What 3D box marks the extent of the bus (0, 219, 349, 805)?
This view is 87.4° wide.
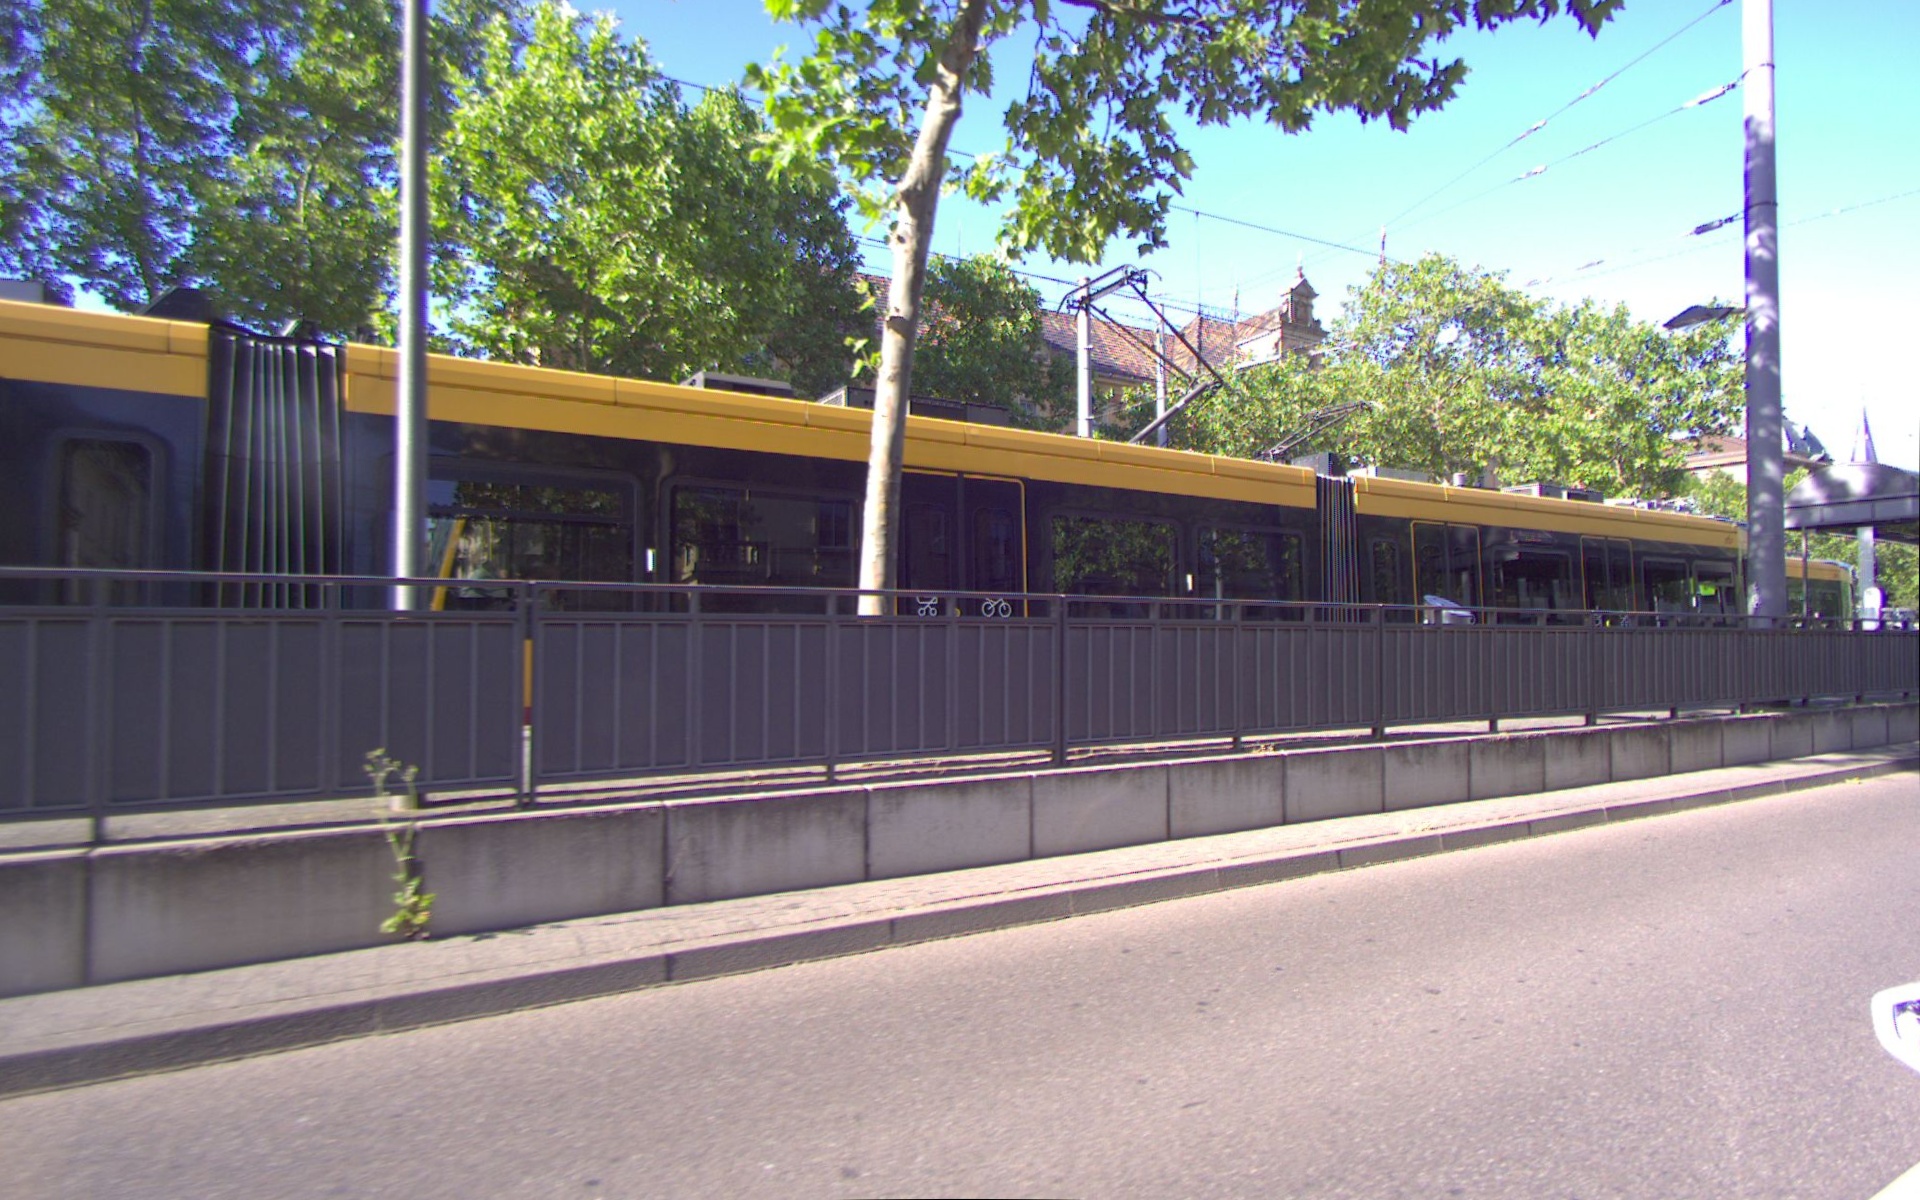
[{"bbox_3d":[-10.622,-0.525,4.778,13.059,3.489,2.856,0,-1,-30],"label":"bus"}]

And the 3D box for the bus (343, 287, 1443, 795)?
[{"bbox_3d":[0.299,-0.344,11.173,12.069,3.489,2.856,0,-1,-30],"label":"bus"}]

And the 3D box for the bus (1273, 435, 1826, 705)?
[{"bbox_3d":[10.497,-0.330,17.119,11.472,3.489,2.856,0,-1,-30],"label":"bus"}]
